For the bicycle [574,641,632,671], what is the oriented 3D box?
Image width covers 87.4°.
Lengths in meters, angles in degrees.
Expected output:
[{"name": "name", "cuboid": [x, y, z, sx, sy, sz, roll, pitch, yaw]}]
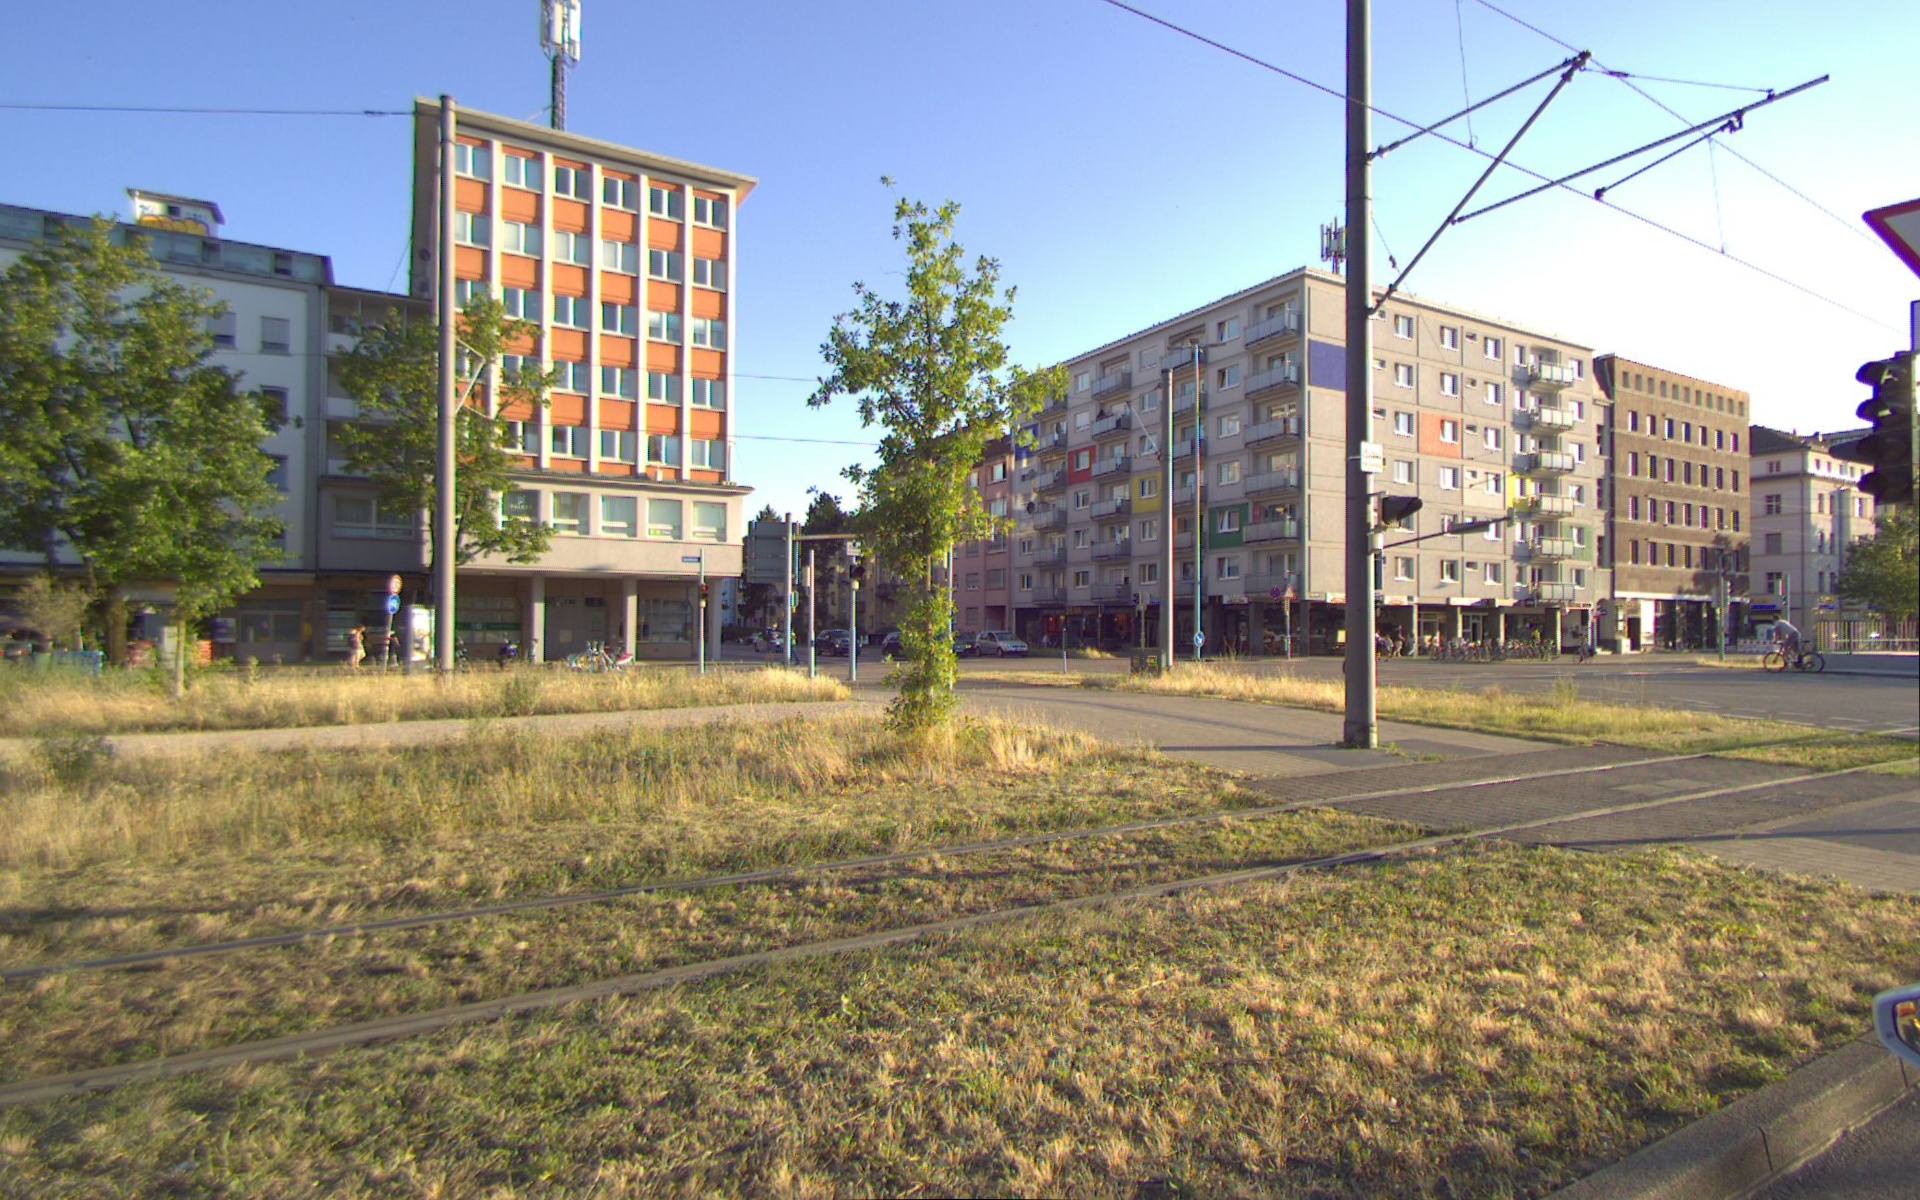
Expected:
[{"name": "bicycle", "cuboid": [-13.303, 2.086, 37.478, 1.972, 1.089, 0.465, 1, -1, -31]}]

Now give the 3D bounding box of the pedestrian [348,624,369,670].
[{"name": "pedestrian", "cuboid": [-23.716, 1.845, 39.604, 0.690, 1.774, 0.646, 1, -1, -30]}]

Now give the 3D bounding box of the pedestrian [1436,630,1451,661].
[{"name": "pedestrian", "cuboid": [26.732, 2.488, 55.563, 0.542, 1.706, 0.575, 1, -2, -38]}]

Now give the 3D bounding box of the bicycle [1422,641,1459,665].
[{"name": "bicycle", "cuboid": [25.803, 2.837, 53.956, 0.631, 1.224, 1.786, 1, -2, -30]}]

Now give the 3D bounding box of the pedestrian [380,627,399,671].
[{"name": "pedestrian", "cuboid": [-23.582, 2.022, 41.518, 0.623, 1.792, 0.593, 1, -1, -30]}]

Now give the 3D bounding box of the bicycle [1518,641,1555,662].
[{"name": "bicycle", "cuboid": [32.599, 2.900, 56.802, 0.626, 1.139, 1.720, 2, -2, -28]}]

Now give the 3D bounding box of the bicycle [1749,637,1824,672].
[{"name": "bicycle", "cuboid": [27.606, 1.804, 33.565, 0.628, 1.089, 1.883, 1, -2, -43]}]

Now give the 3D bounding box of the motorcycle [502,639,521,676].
[{"name": "motorcycle", "cuboid": [-16.959, 2.164, 37.931, 0.538, 1.335, 1.823, 1, -1, -27]}]

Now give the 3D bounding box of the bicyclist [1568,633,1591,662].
[{"name": "bicyclist", "cuboid": [31.501, 2.414, 51.077, 0.841, 1.445, 0.501, 0, -1, -3]}]

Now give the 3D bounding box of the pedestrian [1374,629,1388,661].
[{"name": "pedestrian", "cuboid": [21.491, 2.289, 51.261, 0.563, 1.641, 0.602, 0, -1, 29]}]

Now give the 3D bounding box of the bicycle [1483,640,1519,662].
[{"name": "bicycle", "cuboid": [30.212, 2.831, 56.097, 0.598, 1.174, 1.768, 1, -2, -29]}]

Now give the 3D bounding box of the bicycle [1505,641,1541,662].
[{"name": "bicycle", "cuboid": [31.535, 2.852, 56.236, 0.545, 1.132, 1.747, 1, -1, -29]}]

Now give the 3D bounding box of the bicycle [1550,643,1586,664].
[{"name": "bicycle", "cuboid": [35.183, 3.105, 58.152, 0.688, 1.159, 1.684, 1, -1, -28]}]

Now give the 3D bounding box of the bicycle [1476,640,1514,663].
[{"name": "bicycle", "cuboid": [29.252, 2.814, 54.907, 0.644, 1.206, 1.780, 1, -2, -30]}]

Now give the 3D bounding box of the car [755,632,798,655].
[{"name": "car", "cuboid": [-13.185, 3.075, 72.019, 1.975, 1.551, 3.971, 1, -2, -28]}]

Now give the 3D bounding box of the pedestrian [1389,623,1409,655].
[{"name": "pedestrian", "cuboid": [25.309, 2.264, 57.950, 0.715, 1.836, 0.820, 1, -1, -40]}]

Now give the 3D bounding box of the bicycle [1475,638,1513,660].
[{"name": "bicycle", "cuboid": [29.653, 2.724, 55.809, 0.632, 1.176, 1.823, 1, -2, -29]}]

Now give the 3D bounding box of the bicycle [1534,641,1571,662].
[{"name": "bicycle", "cuboid": [33.870, 2.935, 57.455, 0.739, 1.194, 1.684, 1, -1, -28]}]

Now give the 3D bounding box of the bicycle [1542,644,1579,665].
[{"name": "bicycle", "cuboid": [34.541, 3.133, 57.818, 0.739, 1.185, 1.684, 1, -1, -28]}]

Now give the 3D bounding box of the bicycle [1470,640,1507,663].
[{"name": "bicycle", "cuboid": [28.704, 2.800, 54.584, 0.561, 1.197, 1.761, 1, -1, -29]}]

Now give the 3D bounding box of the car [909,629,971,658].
[{"name": "car", "cuboid": [-1.147, 2.401, 55.713, 1.974, 1.505, 3.974, 1, -2, -26]}]

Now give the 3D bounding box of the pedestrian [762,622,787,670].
[{"name": "pedestrian", "cuboid": [-7.567, 1.870, 41.036, 0.708, 1.972, 0.720, -1, -2, 43]}]

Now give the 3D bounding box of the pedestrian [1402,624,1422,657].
[{"name": "pedestrian", "cuboid": [25.673, 2.277, 57.040, 0.728, 1.866, 0.780, 1, -2, -38]}]

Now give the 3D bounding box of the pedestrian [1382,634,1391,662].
[{"name": "pedestrian", "cuboid": [21.960, 2.476, 51.683, 0.376, 1.401, 0.394, 0, -1, 32]}]

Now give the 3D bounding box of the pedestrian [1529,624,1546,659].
[{"name": "pedestrian", "cuboid": [36.286, 2.595, 63.113, 0.783, 2.207, 0.599, 1, -1, -30]}]

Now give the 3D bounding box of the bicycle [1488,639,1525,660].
[{"name": "bicycle", "cuboid": [30.712, 2.768, 56.478, 0.598, 1.151, 1.763, 1, -1, -29]}]

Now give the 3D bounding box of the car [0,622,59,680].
[{"name": "car", "cuboid": [-30.097, 1.501, 30.233, 3.927, 1.706, 1.997, 1, -1, -9]}]

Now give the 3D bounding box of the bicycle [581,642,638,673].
[{"name": "bicycle", "cuboid": [-12.580, 2.049, 36.093, 1.885, 1.089, 0.465, 1, -1, -31]}]

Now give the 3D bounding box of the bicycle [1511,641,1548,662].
[{"name": "bicycle", "cuboid": [32.040, 2.883, 56.519, 0.561, 1.134, 1.753, 1, -1, -29]}]

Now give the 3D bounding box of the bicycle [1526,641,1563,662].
[{"name": "bicycle", "cuboid": [33.209, 2.927, 57.100, 0.696, 1.168, 1.684, 1, -1, -28]}]

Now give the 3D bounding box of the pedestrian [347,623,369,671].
[{"name": "pedestrian", "cuboid": [-23.381, 1.813, 39.030, 0.696, 1.816, 0.590, 1, -1, -30]}]

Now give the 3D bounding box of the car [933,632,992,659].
[{"name": "car", "cuboid": [0.127, 2.667, 59.656, 1.974, 1.505, 3.974, 1, -2, -26]}]

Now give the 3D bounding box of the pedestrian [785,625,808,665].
[{"name": "pedestrian", "cuboid": [-7.561, 2.063, 46.359, 0.879, 1.855, 0.885, 1, -1, -20]}]

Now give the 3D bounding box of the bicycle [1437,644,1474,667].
[{"name": "bicycle", "cuboid": [26.772, 3.000, 54.313, 0.601, 1.157, 1.768, 1, -2, -29]}]

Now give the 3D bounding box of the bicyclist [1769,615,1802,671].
[{"name": "bicyclist", "cuboid": [27.594, 1.428, 33.583, 0.641, 1.842, 0.785, 1, -2, -43]}]

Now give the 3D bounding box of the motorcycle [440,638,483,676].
[{"name": "motorcycle", "cuboid": [-17.797, 2.022, 35.870, 1.373, 1.335, 0.378, 1, -1, -28]}]

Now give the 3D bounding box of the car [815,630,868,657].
[{"name": "car", "cuboid": [-7.280, 2.644, 61.457, 1.975, 1.551, 3.971, 1, -1, -28]}]

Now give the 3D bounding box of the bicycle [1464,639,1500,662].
[{"name": "bicycle", "cuboid": [28.193, 2.730, 54.278, 0.534, 1.183, 1.758, 1, -1, -29]}]

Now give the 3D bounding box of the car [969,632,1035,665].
[{"name": "car", "cuboid": [2.296, 2.649, 55.550, 1.974, 1.506, 3.973, 2, 1, -26]}]

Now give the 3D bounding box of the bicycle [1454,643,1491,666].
[{"name": "bicycle", "cuboid": [27.620, 2.932, 54.134, 0.592, 1.154, 1.749, 1, -1, -29]}]

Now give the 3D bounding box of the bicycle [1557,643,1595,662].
[{"name": "bicycle", "cuboid": [31.314, 2.682, 51.061, 1.636, 0.957, 0.509, 0, -1, -3]}]

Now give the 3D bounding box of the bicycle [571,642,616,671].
[{"name": "bicycle", "cuboid": [-14.046, 2.165, 38.514, 1.543, 1.089, 0.392, 1, -1, -31]}]
